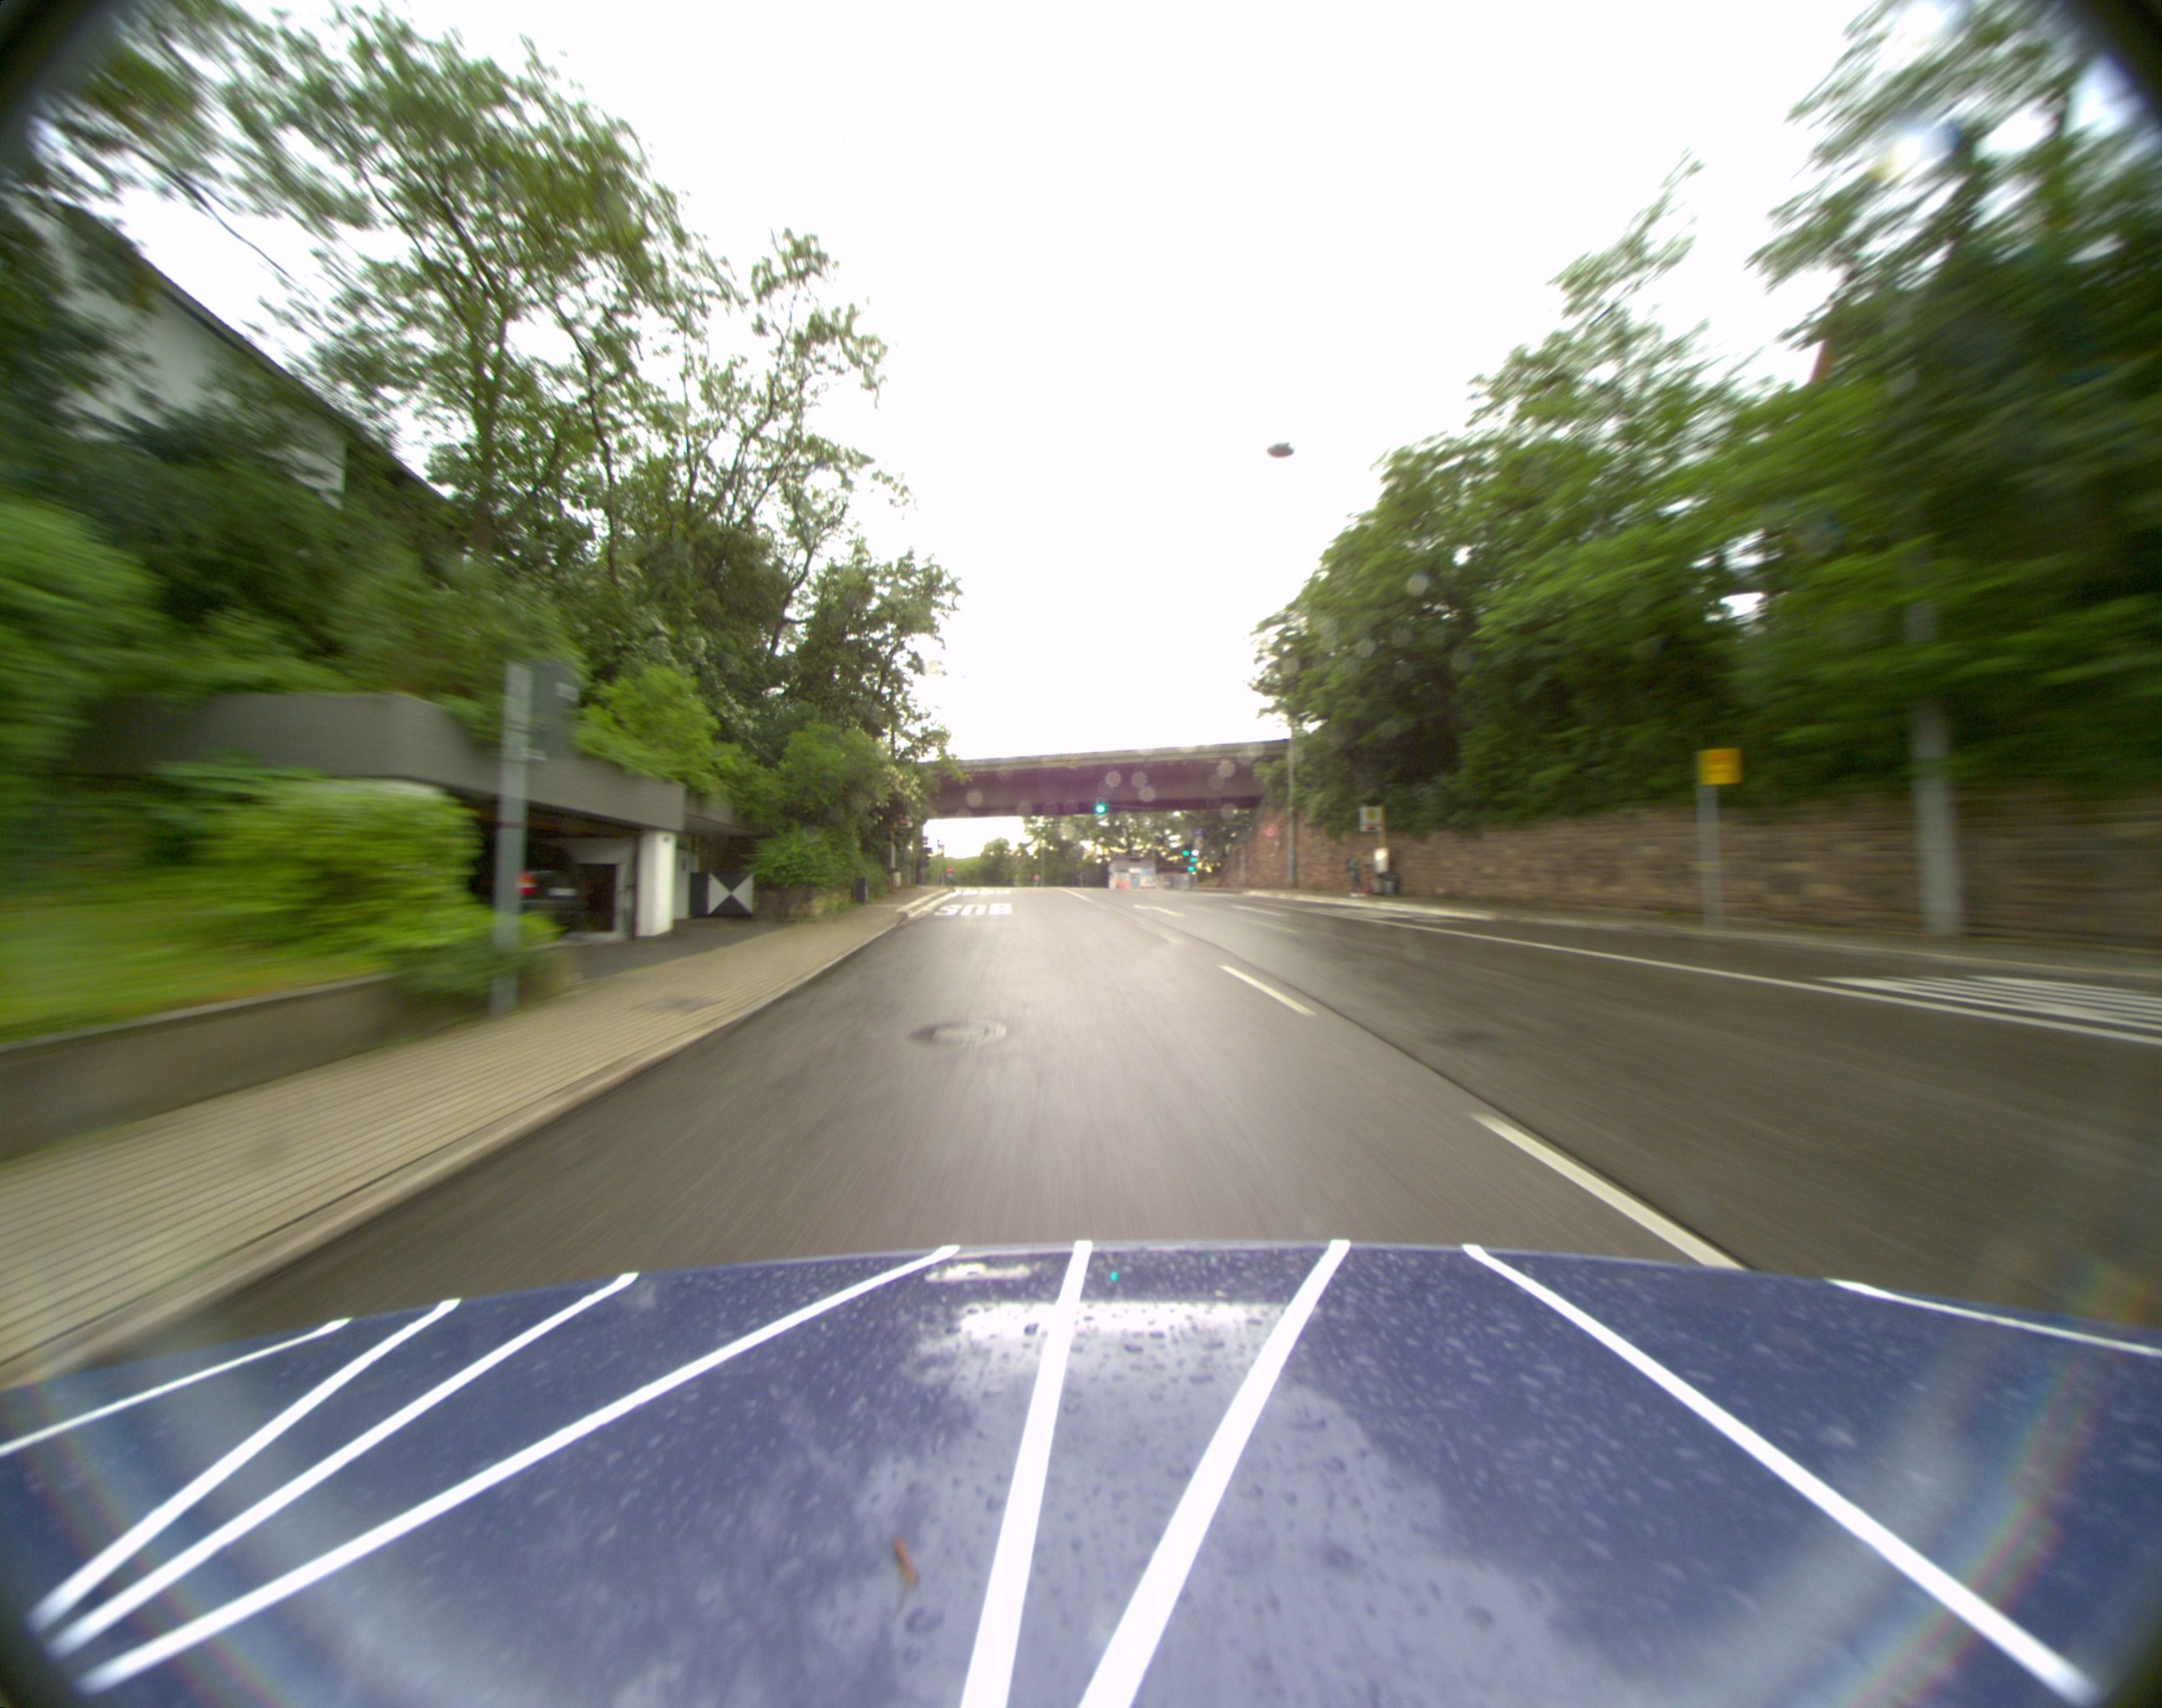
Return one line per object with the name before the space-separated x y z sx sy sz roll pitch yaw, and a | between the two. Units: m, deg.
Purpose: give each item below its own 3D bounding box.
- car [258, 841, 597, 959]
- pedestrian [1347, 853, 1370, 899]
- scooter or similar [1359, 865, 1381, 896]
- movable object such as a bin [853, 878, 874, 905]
car | -10.027 0.719 11.891 3.789 1.665 1.673 -1 -3 -1
pedestrian | 10.574 0.815 28.988 0.589 1.722 0.622 -1 1 -7
scooter or similar | 11.334 1.042 29.817 0.374 1.175 1.125 -1 1 -5
movable object such as a bin | -6.409 1.100 22.388 0.507 0.783 0.502 -1 1 -8
